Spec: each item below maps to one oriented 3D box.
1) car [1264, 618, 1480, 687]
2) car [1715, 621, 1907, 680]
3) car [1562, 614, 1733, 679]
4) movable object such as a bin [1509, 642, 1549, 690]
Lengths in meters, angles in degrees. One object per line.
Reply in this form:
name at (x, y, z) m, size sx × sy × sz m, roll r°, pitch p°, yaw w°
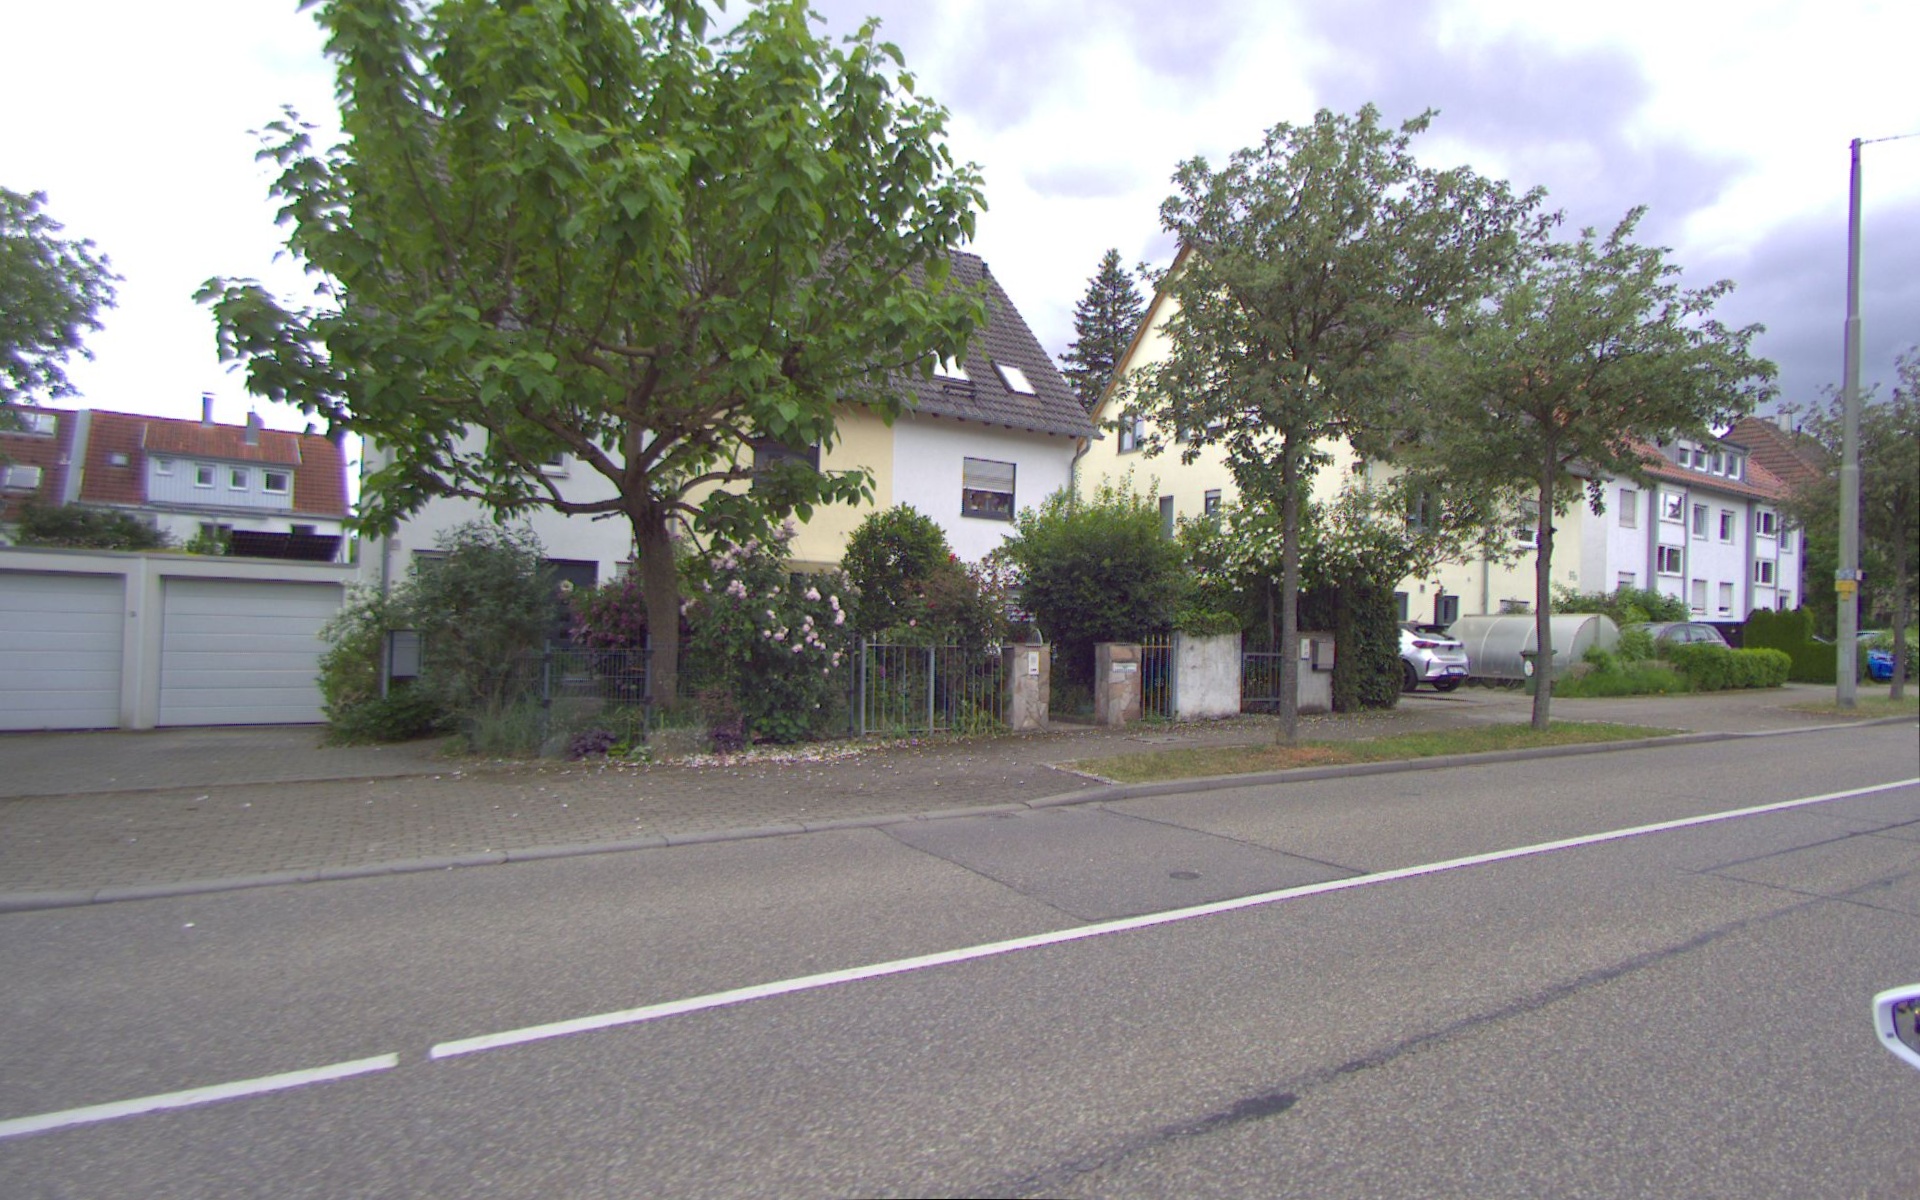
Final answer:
car at (8.726, 1.070, 21.600) m, size 1.737 × 1.303 × 4.041 m, roll 2°, pitch -2°, yaw -33°
car at (24.277, 1.424, 28.780) m, size 1.565 × 1.356 × 3.953 m, roll 4°, pitch 0°, yaw -40°
car at (17.114, 1.162, 24.991) m, size 3.950 × 1.436 × 1.869 m, roll 3°, pitch 0°, yaw -28°
movable object such as a bin at (11.424, 1.326, 20.170) m, size 0.535 × 0.914 × 0.579 m, roll 2°, pitch -1°, yaw 13°
